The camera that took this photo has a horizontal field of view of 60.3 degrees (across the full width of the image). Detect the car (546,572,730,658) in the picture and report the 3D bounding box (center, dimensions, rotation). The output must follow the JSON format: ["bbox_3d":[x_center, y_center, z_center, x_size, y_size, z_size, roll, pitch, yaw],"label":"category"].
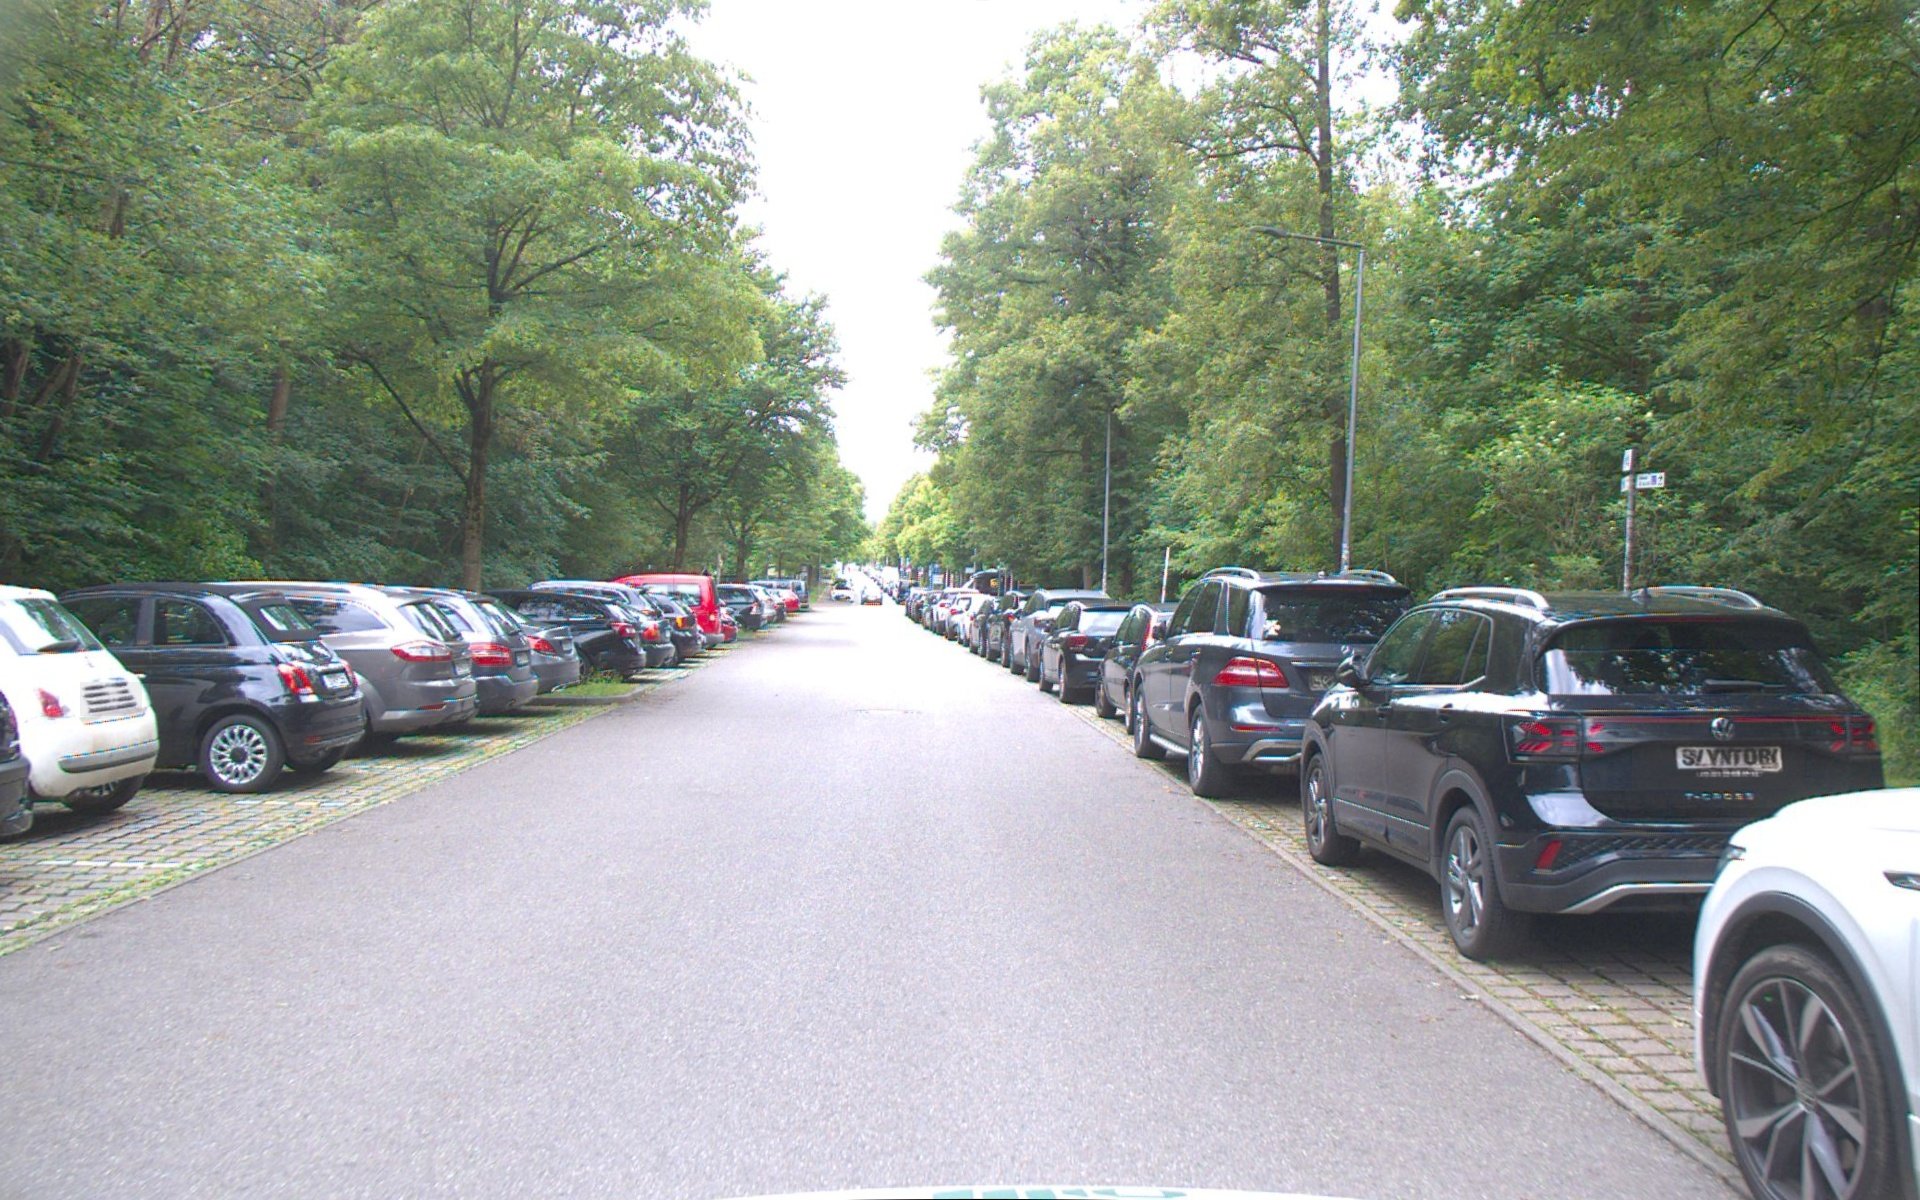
[{"bbox_3d":[-7.270,0.334,37.692,3.910,1.848,2.112,1,0,-6],"label":"car"}]

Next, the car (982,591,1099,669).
[{"bbox_3d":[1.699,0.624,36.451,1.940,1.564,4.161,1,0,-6],"label":"car"}]

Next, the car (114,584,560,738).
[{"bbox_3d":[-6.522,0.616,17.732,4.028,1.506,1.995,1,0,-4],"label":"car"}]

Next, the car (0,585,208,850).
[{"bbox_3d":[-6.920,0.636,10.178,3.789,1.476,1.659,2,1,-5],"label":"car"}]

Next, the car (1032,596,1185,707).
[{"bbox_3d":[2.152,0.708,24.974,1.604,1.503,4.147,1,0,-5],"label":"car"}]

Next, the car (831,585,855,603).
[{"bbox_3d":[-9.271,-0.496,131.440,1.704,1.182,3.411,2,3,-1],"label":"car"}]

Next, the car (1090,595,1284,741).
[{"bbox_3d":[2.620,0.735,19.952,1.567,1.530,4.088,1,0,-3],"label":"car"}]

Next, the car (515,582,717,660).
[{"bbox_3d":[-7.245,0.439,35.145,3.908,1.557,1.999,1,0,-4],"label":"car"}]

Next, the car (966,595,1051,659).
[{"bbox_3d":[1.171,0.648,41.492,1.634,1.470,3.809,1,0,-6],"label":"car"}]

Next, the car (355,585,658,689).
[{"bbox_3d":[-6.799,0.544,25.201,4.214,1.474,1.754,1,0,-8],"label":"car"}]

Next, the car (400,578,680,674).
[{"bbox_3d":[-7.581,0.458,30.218,4.638,1.623,1.958,1,0,-4],"label":"car"}]

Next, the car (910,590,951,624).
[{"bbox_3d":[-1.442,0.299,79.490,1.882,1.547,3.885,1,0,-2],"label":"car"}]

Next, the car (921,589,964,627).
[{"bbox_3d":[-0.795,0.328,72.298,1.676,1.535,3.998,1,0,-3],"label":"car"}]

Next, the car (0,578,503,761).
[{"bbox_3d":[-6.482,0.607,15.327,4.010,1.550,1.927,1,0,-6],"label":"car"}]

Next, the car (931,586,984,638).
[{"bbox_3d":[-0.123,0.409,59.909,1.676,1.758,3.998,1,0,-3],"label":"car"}]

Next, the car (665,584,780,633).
[{"bbox_3d":[-8.557,0.303,59.759,3.907,1.669,1.734,1,0,-2],"label":"car"}]

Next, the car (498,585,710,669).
[{"bbox_3d":[-6.959,0.512,32.713,3.911,1.557,1.997,1,0,-7],"label":"car"}]

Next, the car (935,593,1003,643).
[{"bbox_3d":[0.259,0.568,54.343,1.689,1.520,3.767,1,0,-8],"label":"car"}]

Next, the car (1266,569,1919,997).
[{"bbox_3d":[2.981,0.701,8.653,1.716,1.635,4.444,1,0,-3],"label":"car"}]

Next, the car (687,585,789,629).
[{"bbox_3d":[-8.983,0.276,67.166,3.907,1.669,2.008,1,0,-2],"label":"car"}]

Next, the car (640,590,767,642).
[{"bbox_3d":[-8.082,0.504,52.447,3.756,1.563,1.870,1,0,-2],"label":"car"}]

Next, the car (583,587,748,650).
[{"bbox_3d":[-7.511,0.458,42.533,3.907,1.500,2.114,1,0,-3],"label":"car"}]

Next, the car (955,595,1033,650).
[{"bbox_3d":[0.960,0.632,48.447,1.899,1.501,3.989,1,0,-4],"label":"car"}]

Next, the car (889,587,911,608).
[{"bbox_3d":[-4.884,-0.234,134.230,1.596,1.440,3.409,2,3,-4],"label":"car"}]

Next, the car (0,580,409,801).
[{"bbox_3d":[-6.743,0.632,12.792,4.311,1.514,1.837,2,0,-1],"label":"car"}]

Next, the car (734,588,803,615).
[{"bbox_3d":[-10.410,0.088,89.852,3.518,1.385,1.821,1,0,-16],"label":"car"}]

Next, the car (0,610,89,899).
[{"bbox_3d":[-6.450,0.691,7.593,3.901,1.333,1.809,2,1,-5],"label":"car"}]

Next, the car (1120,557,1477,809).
[{"bbox_3d":[2.684,0.581,14.371,1.852,1.777,4.946,1,0,-3],"label":"car"}]

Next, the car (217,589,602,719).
[{"bbox_3d":[-6.612,0.627,20.230,4.026,1.456,1.964,1,0,-1],"label":"car"}]

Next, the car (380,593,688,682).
[{"bbox_3d":[-6.985,0.601,27.544,4.638,1.367,1.986,1,0,-4],"label":"car"}]

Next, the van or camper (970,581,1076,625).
[{"bbox_3d":[4.557,0.214,120.345,7.209,2.938,2.637,1,3,-18],"label":"van or camper"}]

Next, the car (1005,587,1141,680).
[{"bbox_3d":[2.015,0.567,30.825,1.939,1.564,4.618,1,0,-3],"label":"car"}]

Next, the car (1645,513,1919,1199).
[{"bbox_3d":[2.997,0.687,2.454,1.750,1.691,4.714,1,0,-4],"label":"car"}]

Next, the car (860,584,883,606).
[{"bbox_3d":[-6.889,-0.410,128.286,1.657,1.440,3.152,2,3,-4],"label":"car"}]

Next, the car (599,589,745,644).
[{"bbox_3d":[-8.236,0.458,47.594,3.907,1.500,1.846,1,0,-2],"label":"car"}]

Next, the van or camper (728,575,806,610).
[{"bbox_3d":[-11.758,-0.461,100.663,4.404,1.900,1.911,1,3,-18],"label":"van or camper"}]
